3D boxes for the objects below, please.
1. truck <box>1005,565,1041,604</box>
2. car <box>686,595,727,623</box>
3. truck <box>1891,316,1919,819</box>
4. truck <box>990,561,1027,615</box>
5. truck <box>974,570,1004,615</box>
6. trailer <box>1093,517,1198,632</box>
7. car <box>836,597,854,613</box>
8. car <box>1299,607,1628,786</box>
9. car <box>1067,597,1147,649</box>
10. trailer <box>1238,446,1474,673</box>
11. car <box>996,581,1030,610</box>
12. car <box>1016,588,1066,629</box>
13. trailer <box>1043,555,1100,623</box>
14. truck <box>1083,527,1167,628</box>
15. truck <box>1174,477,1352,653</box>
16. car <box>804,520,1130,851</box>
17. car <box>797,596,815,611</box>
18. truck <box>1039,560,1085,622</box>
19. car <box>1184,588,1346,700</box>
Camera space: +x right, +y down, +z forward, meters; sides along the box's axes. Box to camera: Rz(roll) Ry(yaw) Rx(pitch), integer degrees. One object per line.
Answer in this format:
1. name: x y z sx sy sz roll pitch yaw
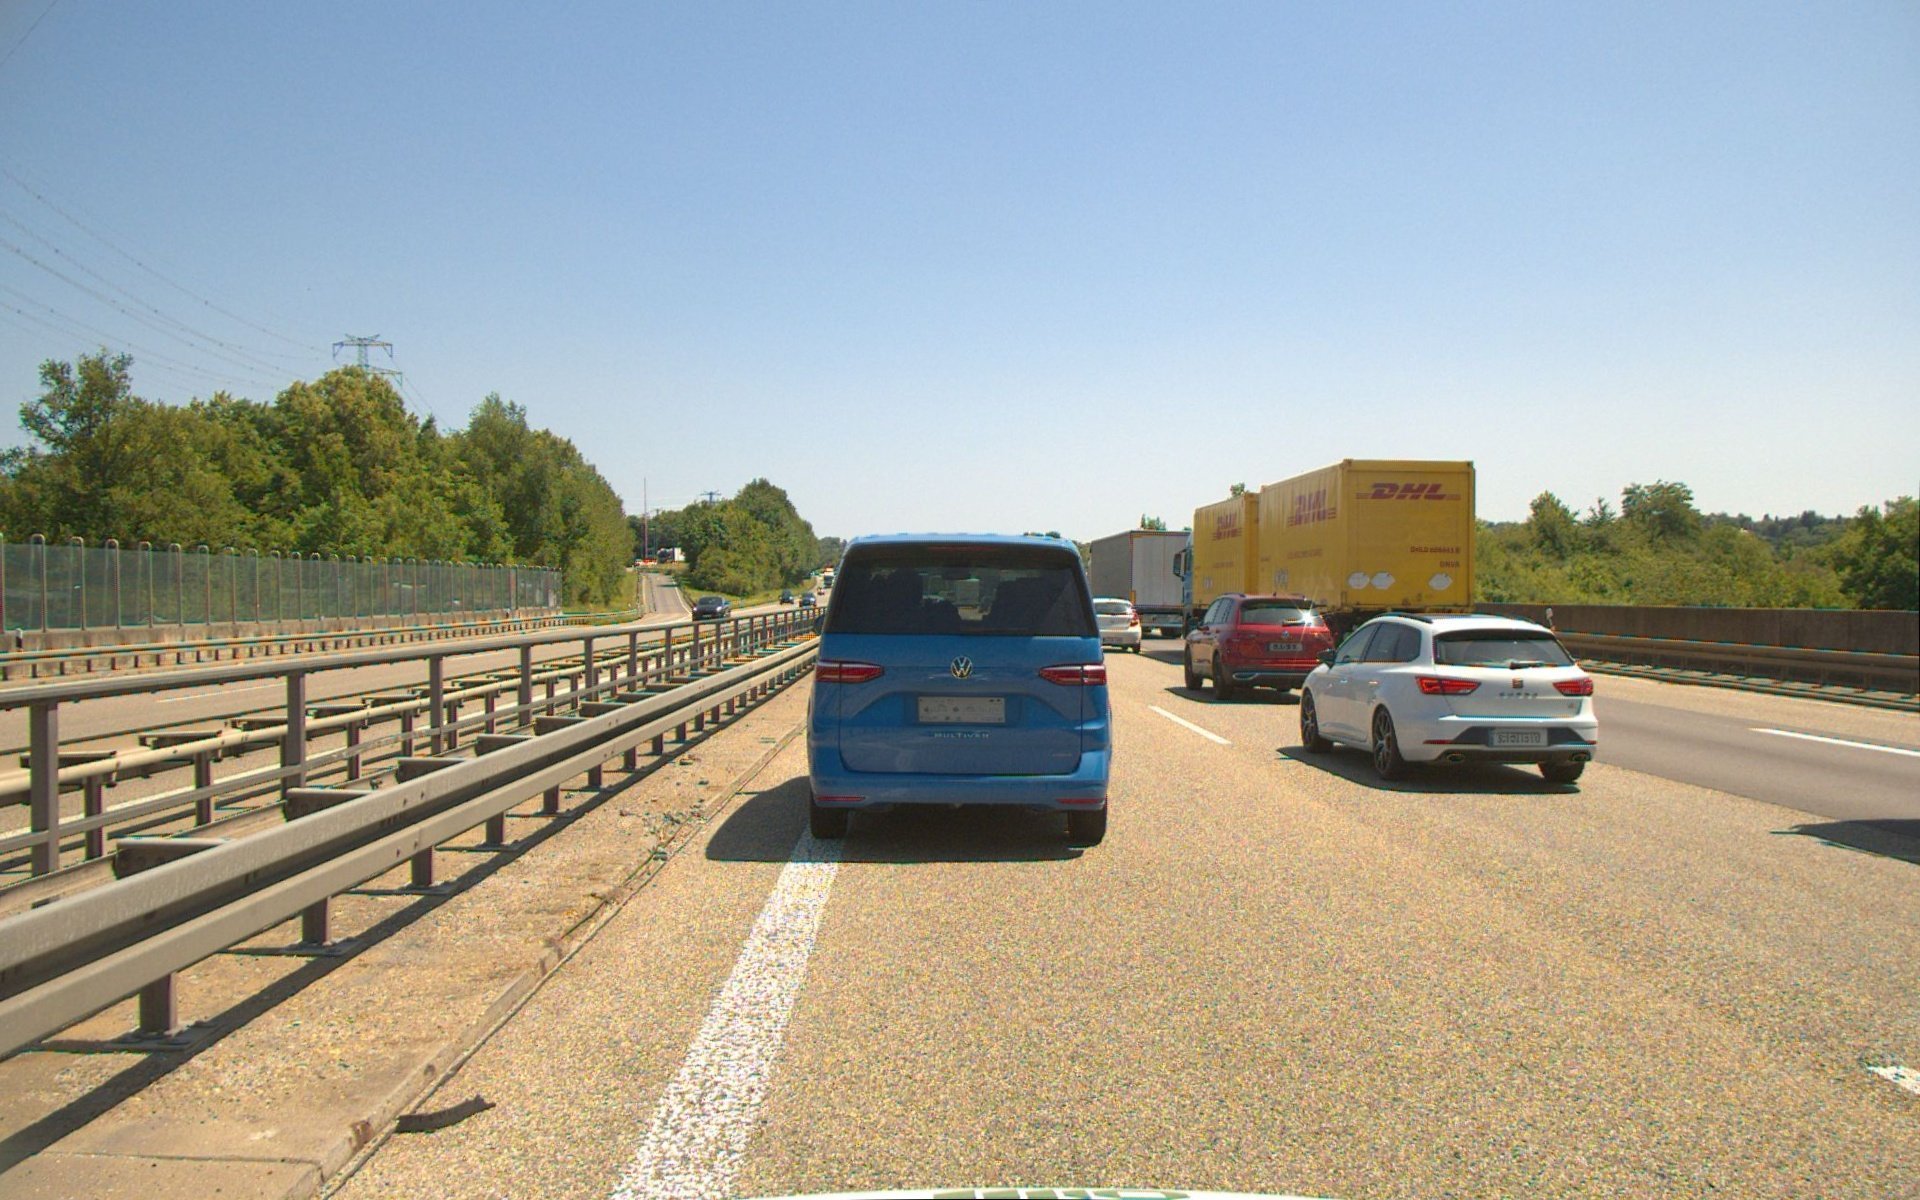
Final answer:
1. truck: 5.483 -1.291 145.636 2.308 3.275 9.735 1 -1 -2
2. car: -14.897 0.527 97.363 1.744 1.596 4.385 -2 0 -1
3. truck: 8.468 -0.248 7.010 2.793 3.666 10.766 1 0 -1
4. truck: 4.768 -1.091 164.437 2.777 5.128 11.140 1 -1 -2
5. truck: 3.402 -0.792 196.128 2.777 5.128 11.810 1 -1 -2
6. trailer: 7.307 -0.902 66.828 2.699 4.219 11.308 1 -1 -1
7. car: -12.582 0.528 181.711 1.719 1.751 4.100 -1 0 -1
8. car: 4.493 0.787 15.437 1.745 1.411 4.187 1 0 -1
9. car: 4.203 0.638 47.768 1.801 1.438 3.998 0 0 -3
10. trailer: 7.986 -0.706 34.686 2.646 4.094 8.928 1 -1 -1
11. car: 2.937 -0.247 92.015 1.680 1.567 3.820 -1 0 -1
12. car: 3.259 0.330 67.219 1.680 1.614 3.819 -1 0 -2
13. trailer: 6.545 -0.561 98.793 2.331 3.809 11.184 1 -1 -1
14. truck: 7.159 -0.925 72.653 2.712 4.167 6.981 1 -1 -2
15. truck: 7.842 -0.786 44.335 2.667 4.125 10.333 1 -1 -1
16. car: 0.012 0.487 11.422 1.844 1.869 3.999 0 0 -1
17. car: -16.876 0.387 181.283 1.719 1.574 3.999 -2 0 -1
18. truck: 6.402 -0.512 104.716 2.320 3.787 6.031 1 -1 -2
19. car: 4.820 0.642 26.670 1.813 1.636 4.000 0 1 -1
